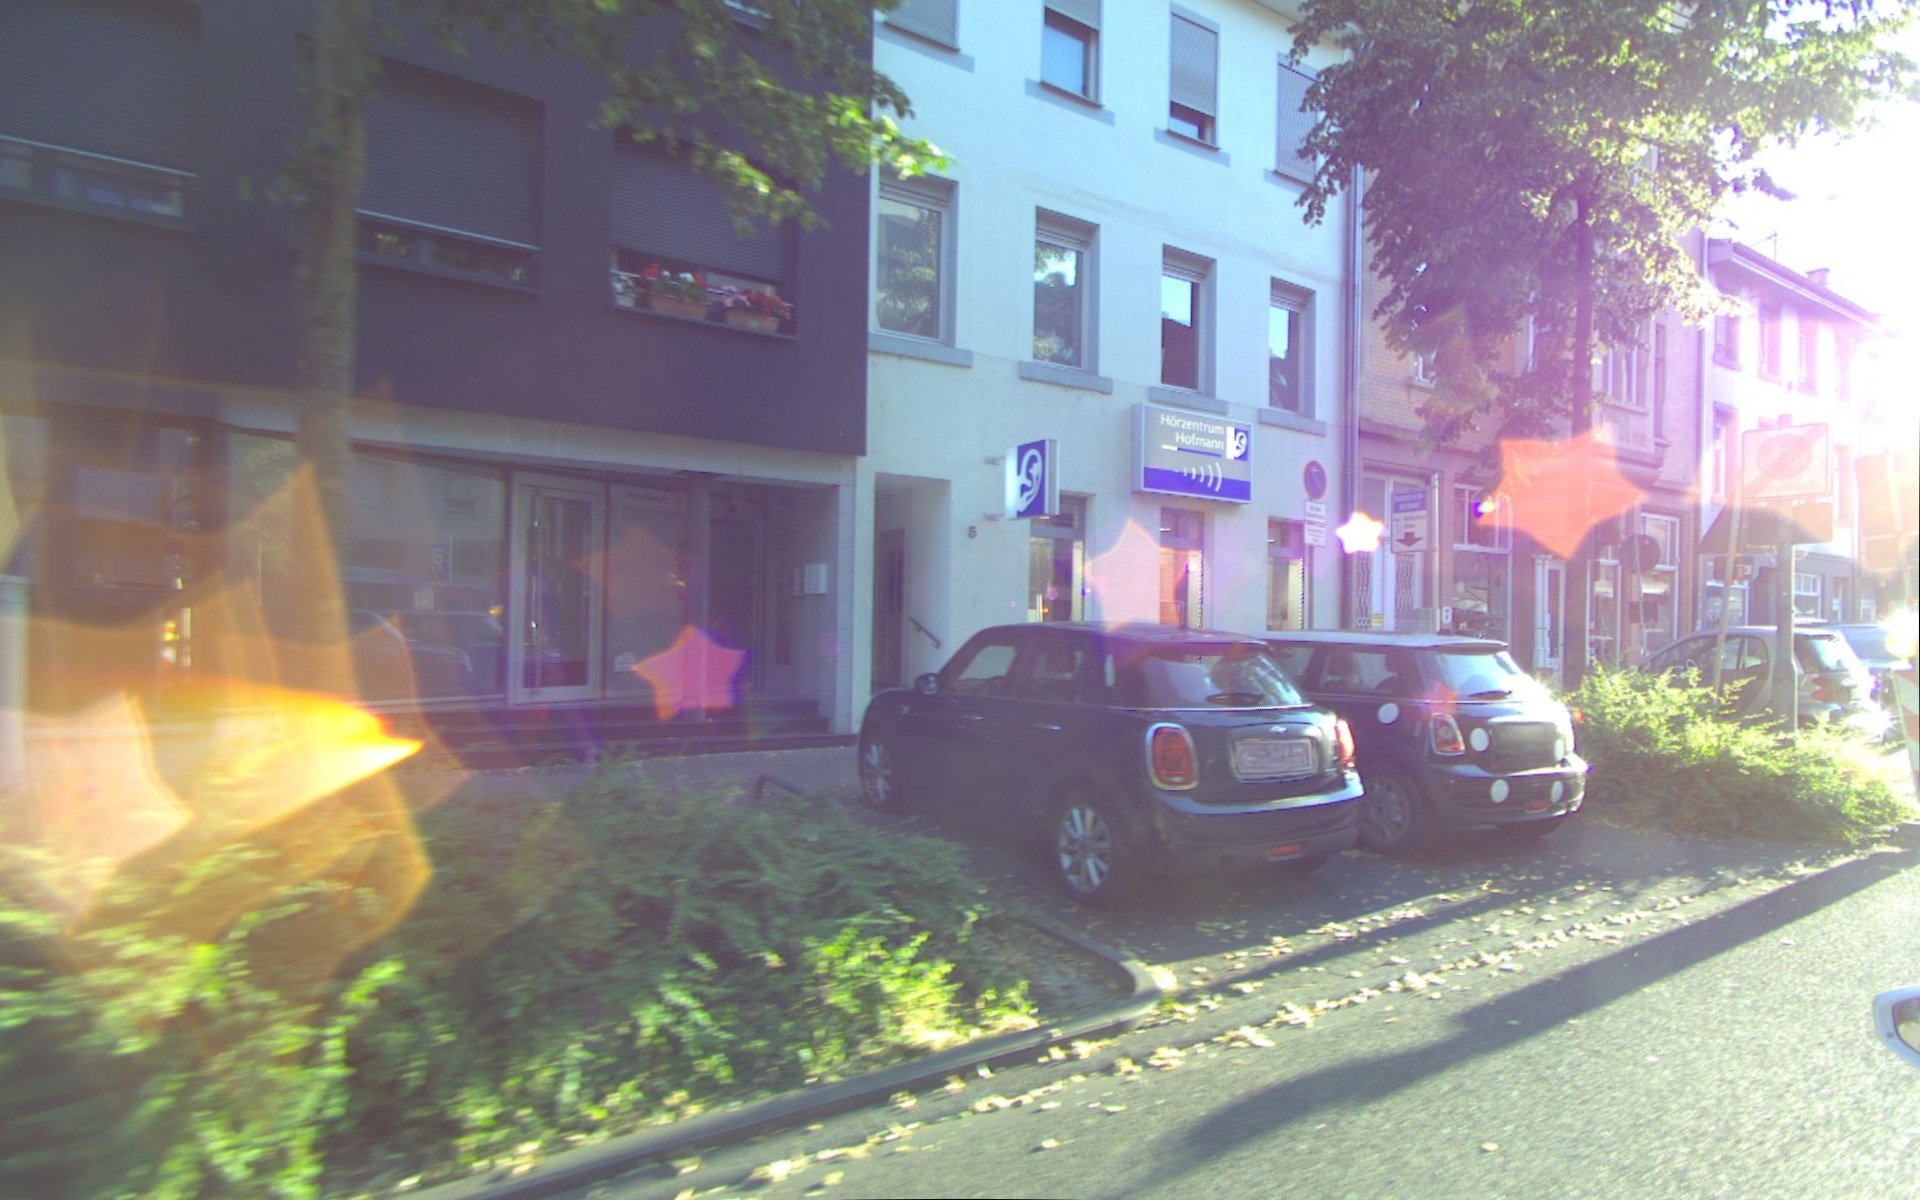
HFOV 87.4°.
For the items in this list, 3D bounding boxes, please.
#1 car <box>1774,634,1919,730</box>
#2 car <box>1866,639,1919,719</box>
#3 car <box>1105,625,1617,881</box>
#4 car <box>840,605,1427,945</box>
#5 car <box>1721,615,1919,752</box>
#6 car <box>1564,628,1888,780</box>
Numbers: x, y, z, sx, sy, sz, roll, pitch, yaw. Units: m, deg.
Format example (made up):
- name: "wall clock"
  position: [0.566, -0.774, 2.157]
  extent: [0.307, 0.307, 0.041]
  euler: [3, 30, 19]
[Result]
- name: "car"
  position: [16.680, 1.434, 18.336]
  extent: [3.445, 1.535, 1.765]
  euler: [2, -1, -31]
- name: "car"
  position: [20.443, 1.598, 20.573]
  extent: [3.905, 1.535, 1.765]
  euler: [2, -1, -31]
- name: "car"
  position: [2.822, 0.950, 7.753]
  extent: [1.666, 1.410, 3.382]
  euler: [1, -1, -29]
- name: "car"
  position: [0.823, 0.838, 6.776]
  extent: [1.835, 1.537, 3.874]
  euler: [2, -1, -30]
- name: "car"
  position: [13.371, 1.182, 15.082]
  extent: [4.658, 1.751, 1.891]
  euler: [2, -3, -37]
- name: "car"
  position: [8.927, 1.129, 11.845]
  extent: [1.556, 1.540, 2.677]
  euler: [0, -2, -34]
